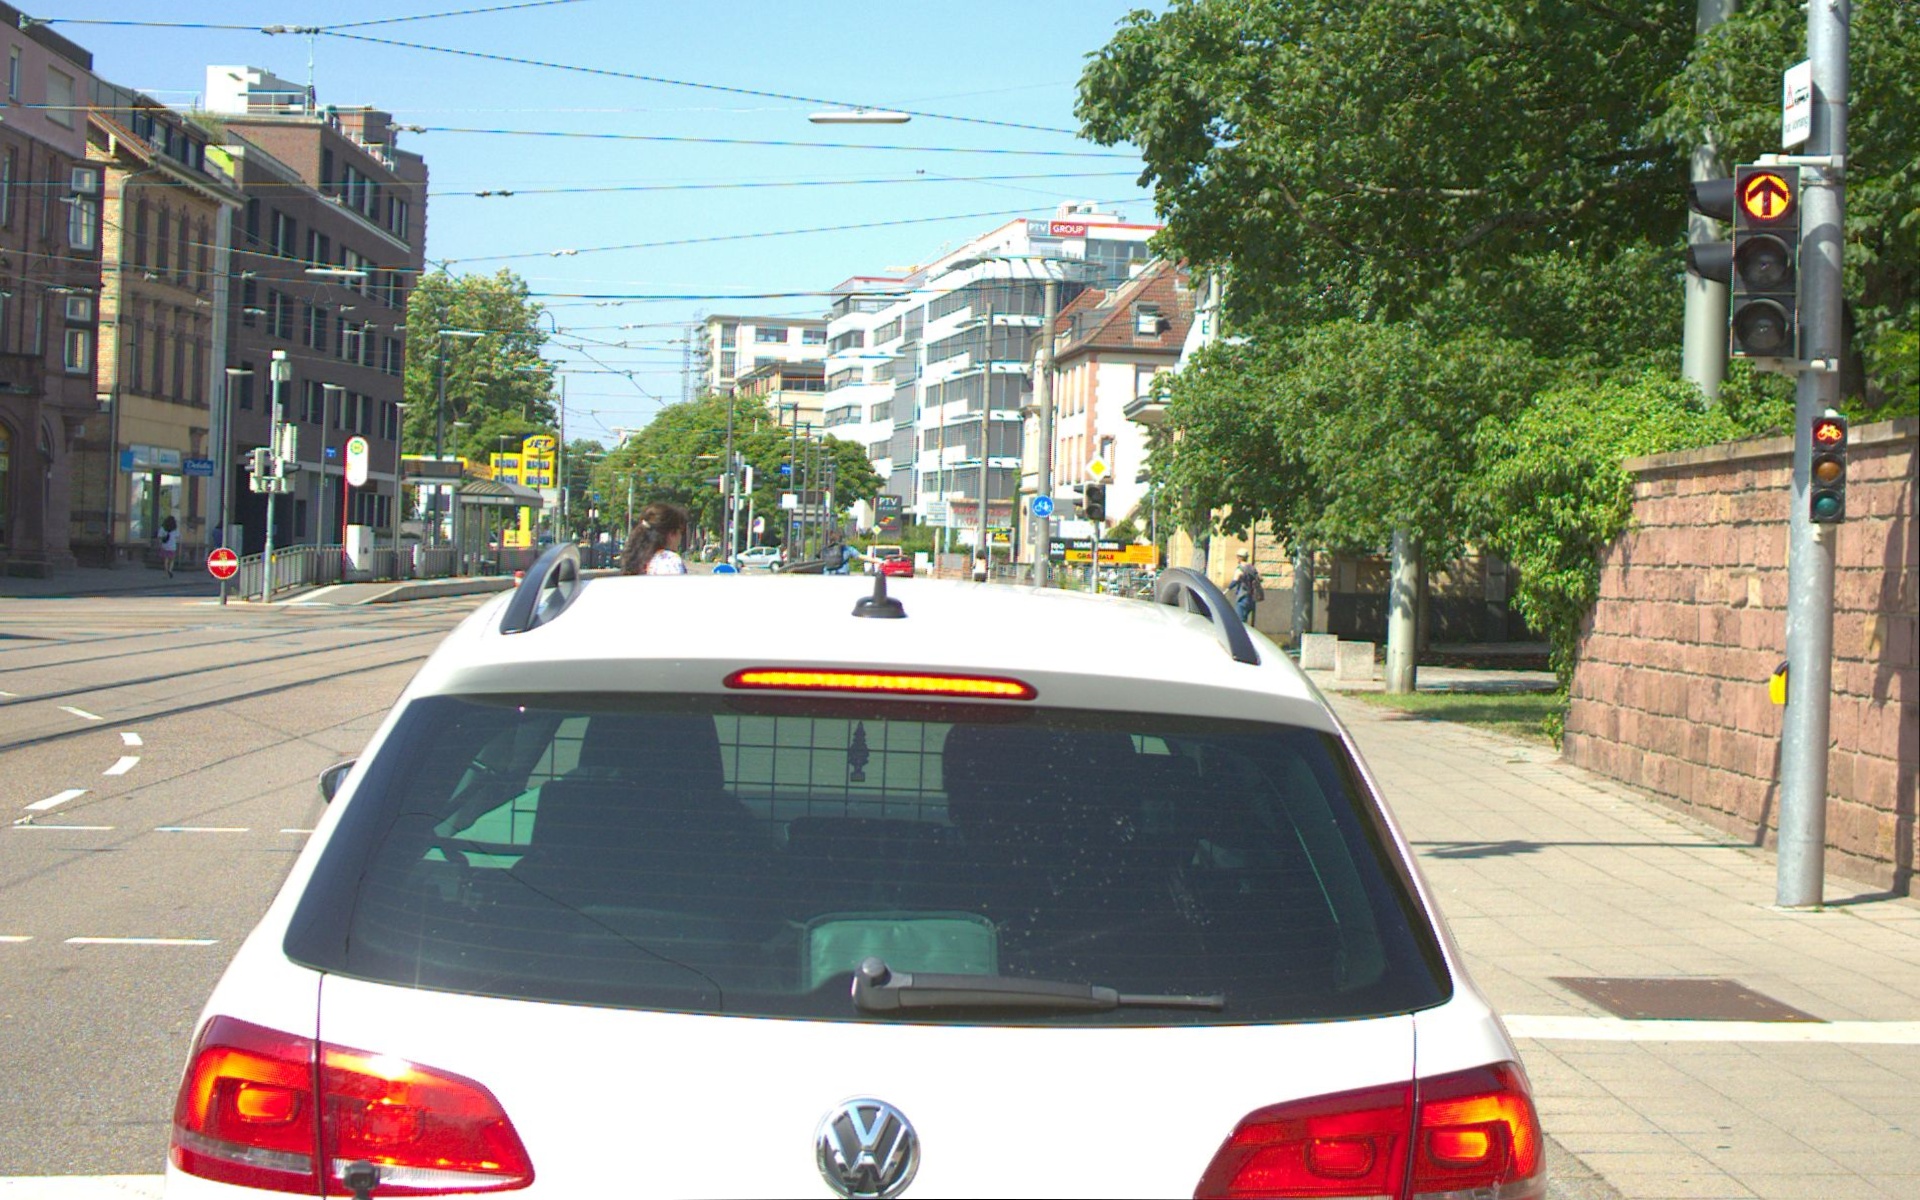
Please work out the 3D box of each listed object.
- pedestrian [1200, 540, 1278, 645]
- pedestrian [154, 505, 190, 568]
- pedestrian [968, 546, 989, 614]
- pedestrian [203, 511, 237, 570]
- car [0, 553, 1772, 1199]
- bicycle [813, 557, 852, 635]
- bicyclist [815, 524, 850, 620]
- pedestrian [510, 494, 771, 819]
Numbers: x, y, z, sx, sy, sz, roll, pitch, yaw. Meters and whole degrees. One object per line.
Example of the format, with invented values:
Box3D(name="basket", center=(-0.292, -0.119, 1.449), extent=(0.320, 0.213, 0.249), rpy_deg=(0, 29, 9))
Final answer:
Box3D(name="pedestrian", center=(4.675, -0.123, 57.673), extent=(0.862, 1.737, 0.974), rpy_deg=(0, 0, -39))
Box3D(name="pedestrian", center=(-21.984, -1.769, 95.885), extent=(0.861, 1.737, 0.975), rpy_deg=(0, 0, -6))
Box3D(name="pedestrian", center=(0.643, -0.678, 117.006), extent=(0.690, 2.317, 1.232), rpy_deg=(0, 0, 1))
Box3D(name="pedestrian", center=(-21.940, -1.769, 101.914), extent=(0.861, 1.737, 0.975), rpy_deg=(0, 0, -6))
Box3D(name="car", center=(-0.141, 0.681, 5.441), extent=(1.808, 1.443, 4.000), rpy_deg=(2, 1, -1))
Box3D(name="bicycle", center=(-2.172, -0.065, 58.266), extent=(0.558, 1.293, 2.250), rpy_deg=(0, 0, -5))
Box3D(name="bicyclist", center=(-2.169, -0.468, 58.263), extent=(0.561, 1.607, 0.638), rpy_deg=(0, 0, -4))
Box3D(name="pedestrian", center=(-1.679, 0.284, 18.092), extent=(0.955, 1.645, 0.972), rpy_deg=(0, 0, 44))
